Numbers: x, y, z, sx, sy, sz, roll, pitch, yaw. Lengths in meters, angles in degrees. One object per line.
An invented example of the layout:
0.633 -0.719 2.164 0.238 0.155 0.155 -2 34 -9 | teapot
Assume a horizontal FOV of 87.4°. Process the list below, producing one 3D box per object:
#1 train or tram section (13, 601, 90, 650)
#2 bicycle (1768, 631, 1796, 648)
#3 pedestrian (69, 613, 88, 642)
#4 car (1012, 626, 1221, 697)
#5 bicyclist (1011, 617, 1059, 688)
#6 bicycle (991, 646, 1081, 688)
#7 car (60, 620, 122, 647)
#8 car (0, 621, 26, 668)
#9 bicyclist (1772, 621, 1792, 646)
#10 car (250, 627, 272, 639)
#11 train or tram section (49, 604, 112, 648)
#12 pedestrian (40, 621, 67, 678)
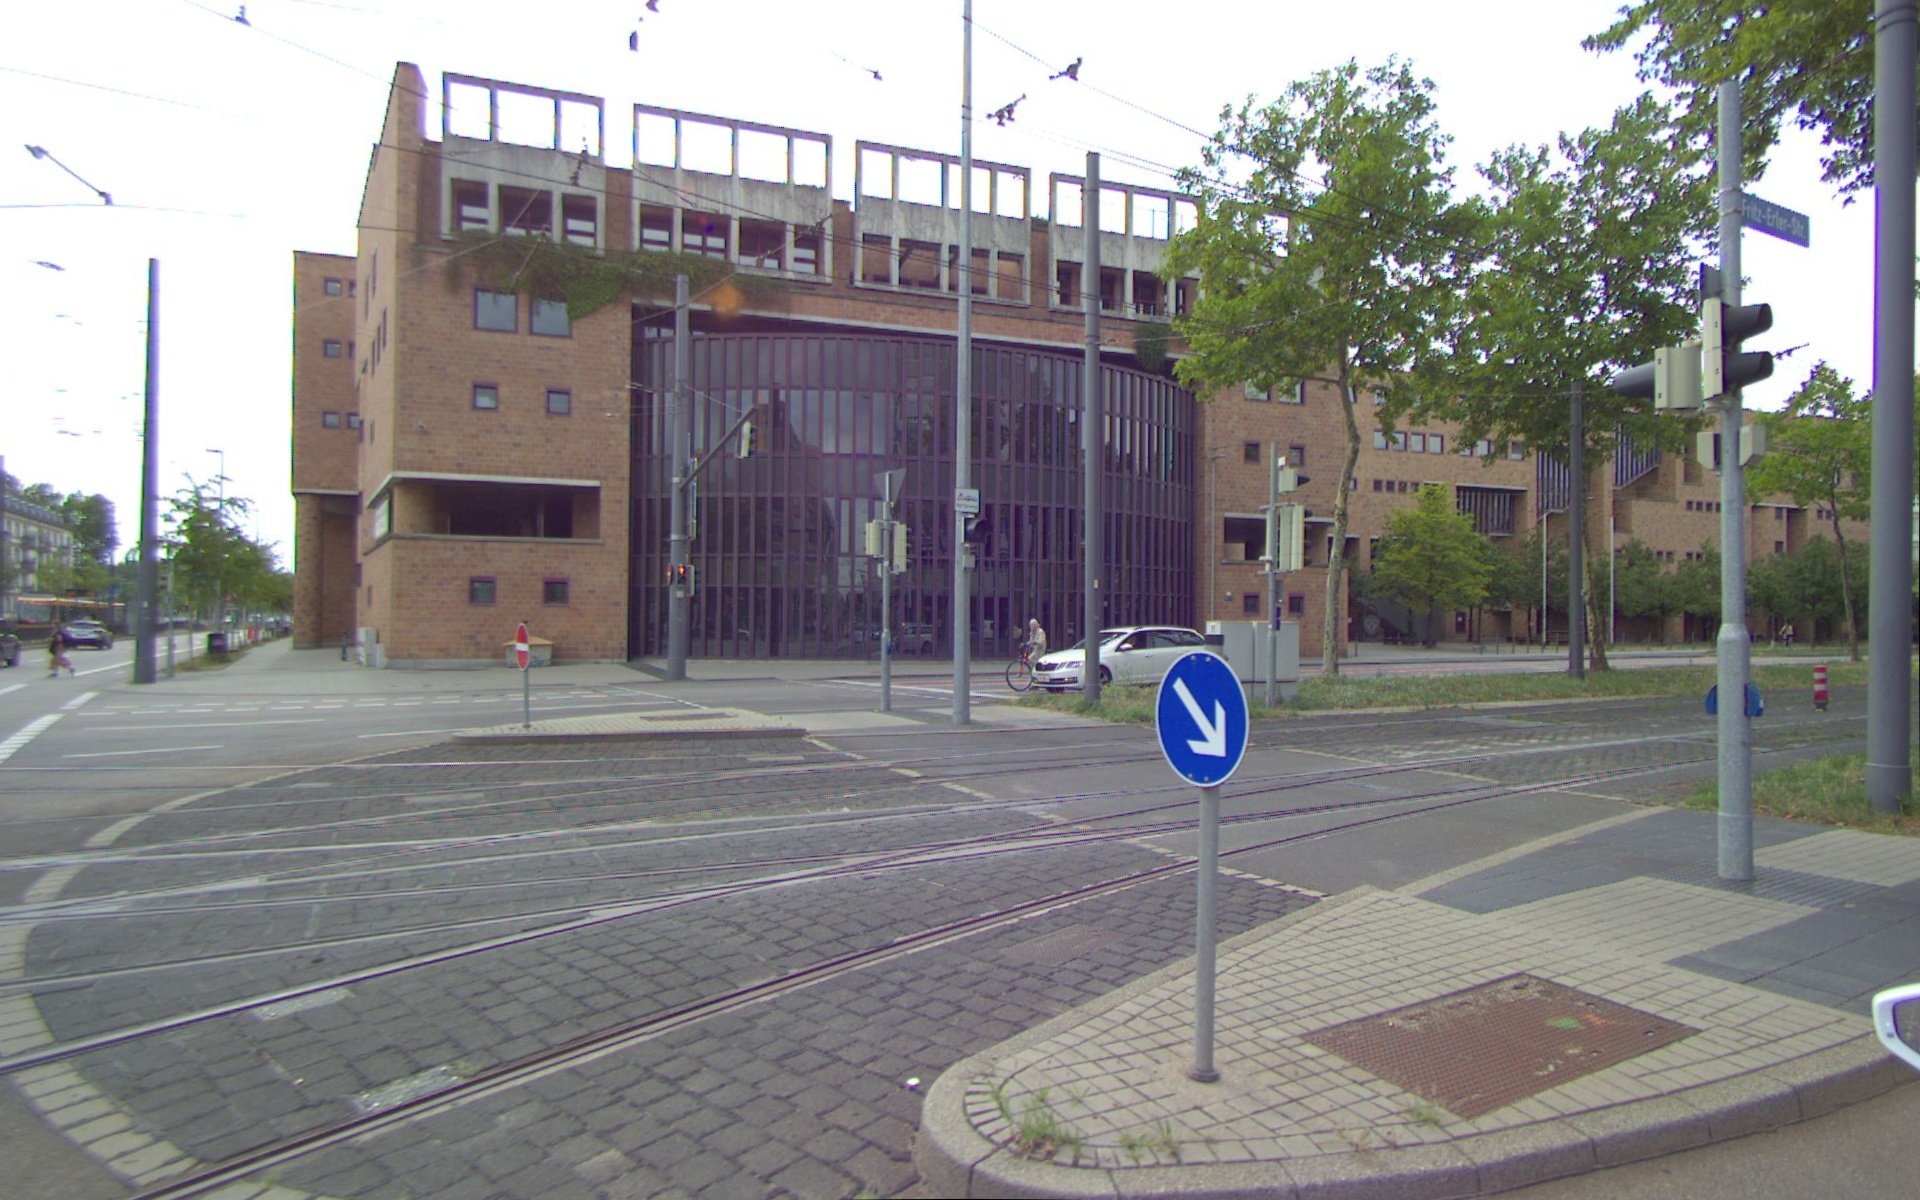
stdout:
-68.479 1.937 75.915 2.423 3.496 9.529 1 -2 -31 | train or tram section
53.451 2.569 65.322 2.066 1.099 0.666 1 -1 -27 | bicycle
-64.138 2.007 73.089 0.771 2.040 1.220 1 -1 -30 | pedestrian
3.566 1.309 22.539 4.605 1.440 1.775 1 -1 -31 | car
1.764 1.233 23.781 0.891 1.631 0.719 1 -1 -30 | bicyclist
1.815 1.568 23.804 2.099 0.929 0.726 1 -1 -31 | bicycle
-48.777 1.888 56.456 1.912 1.450 4.267 2 -2 -31 | car
-34.644 1.531 35.266 1.914 1.629 4.490 2 -2 -33 | car
53.427 2.194 65.309 0.971 1.612 0.662 1 -1 -27 | bicyclist
-77.031 3.637 110.749 1.676 1.311 3.968 1 -2 -30 | car
-72.902 2.130 83.430 2.415 3.485 8.099 1 -2 -31 | train or tram section
-27.989 1.529 31.020 0.454 1.731 0.479 1 -1 -27 | pedestrian
